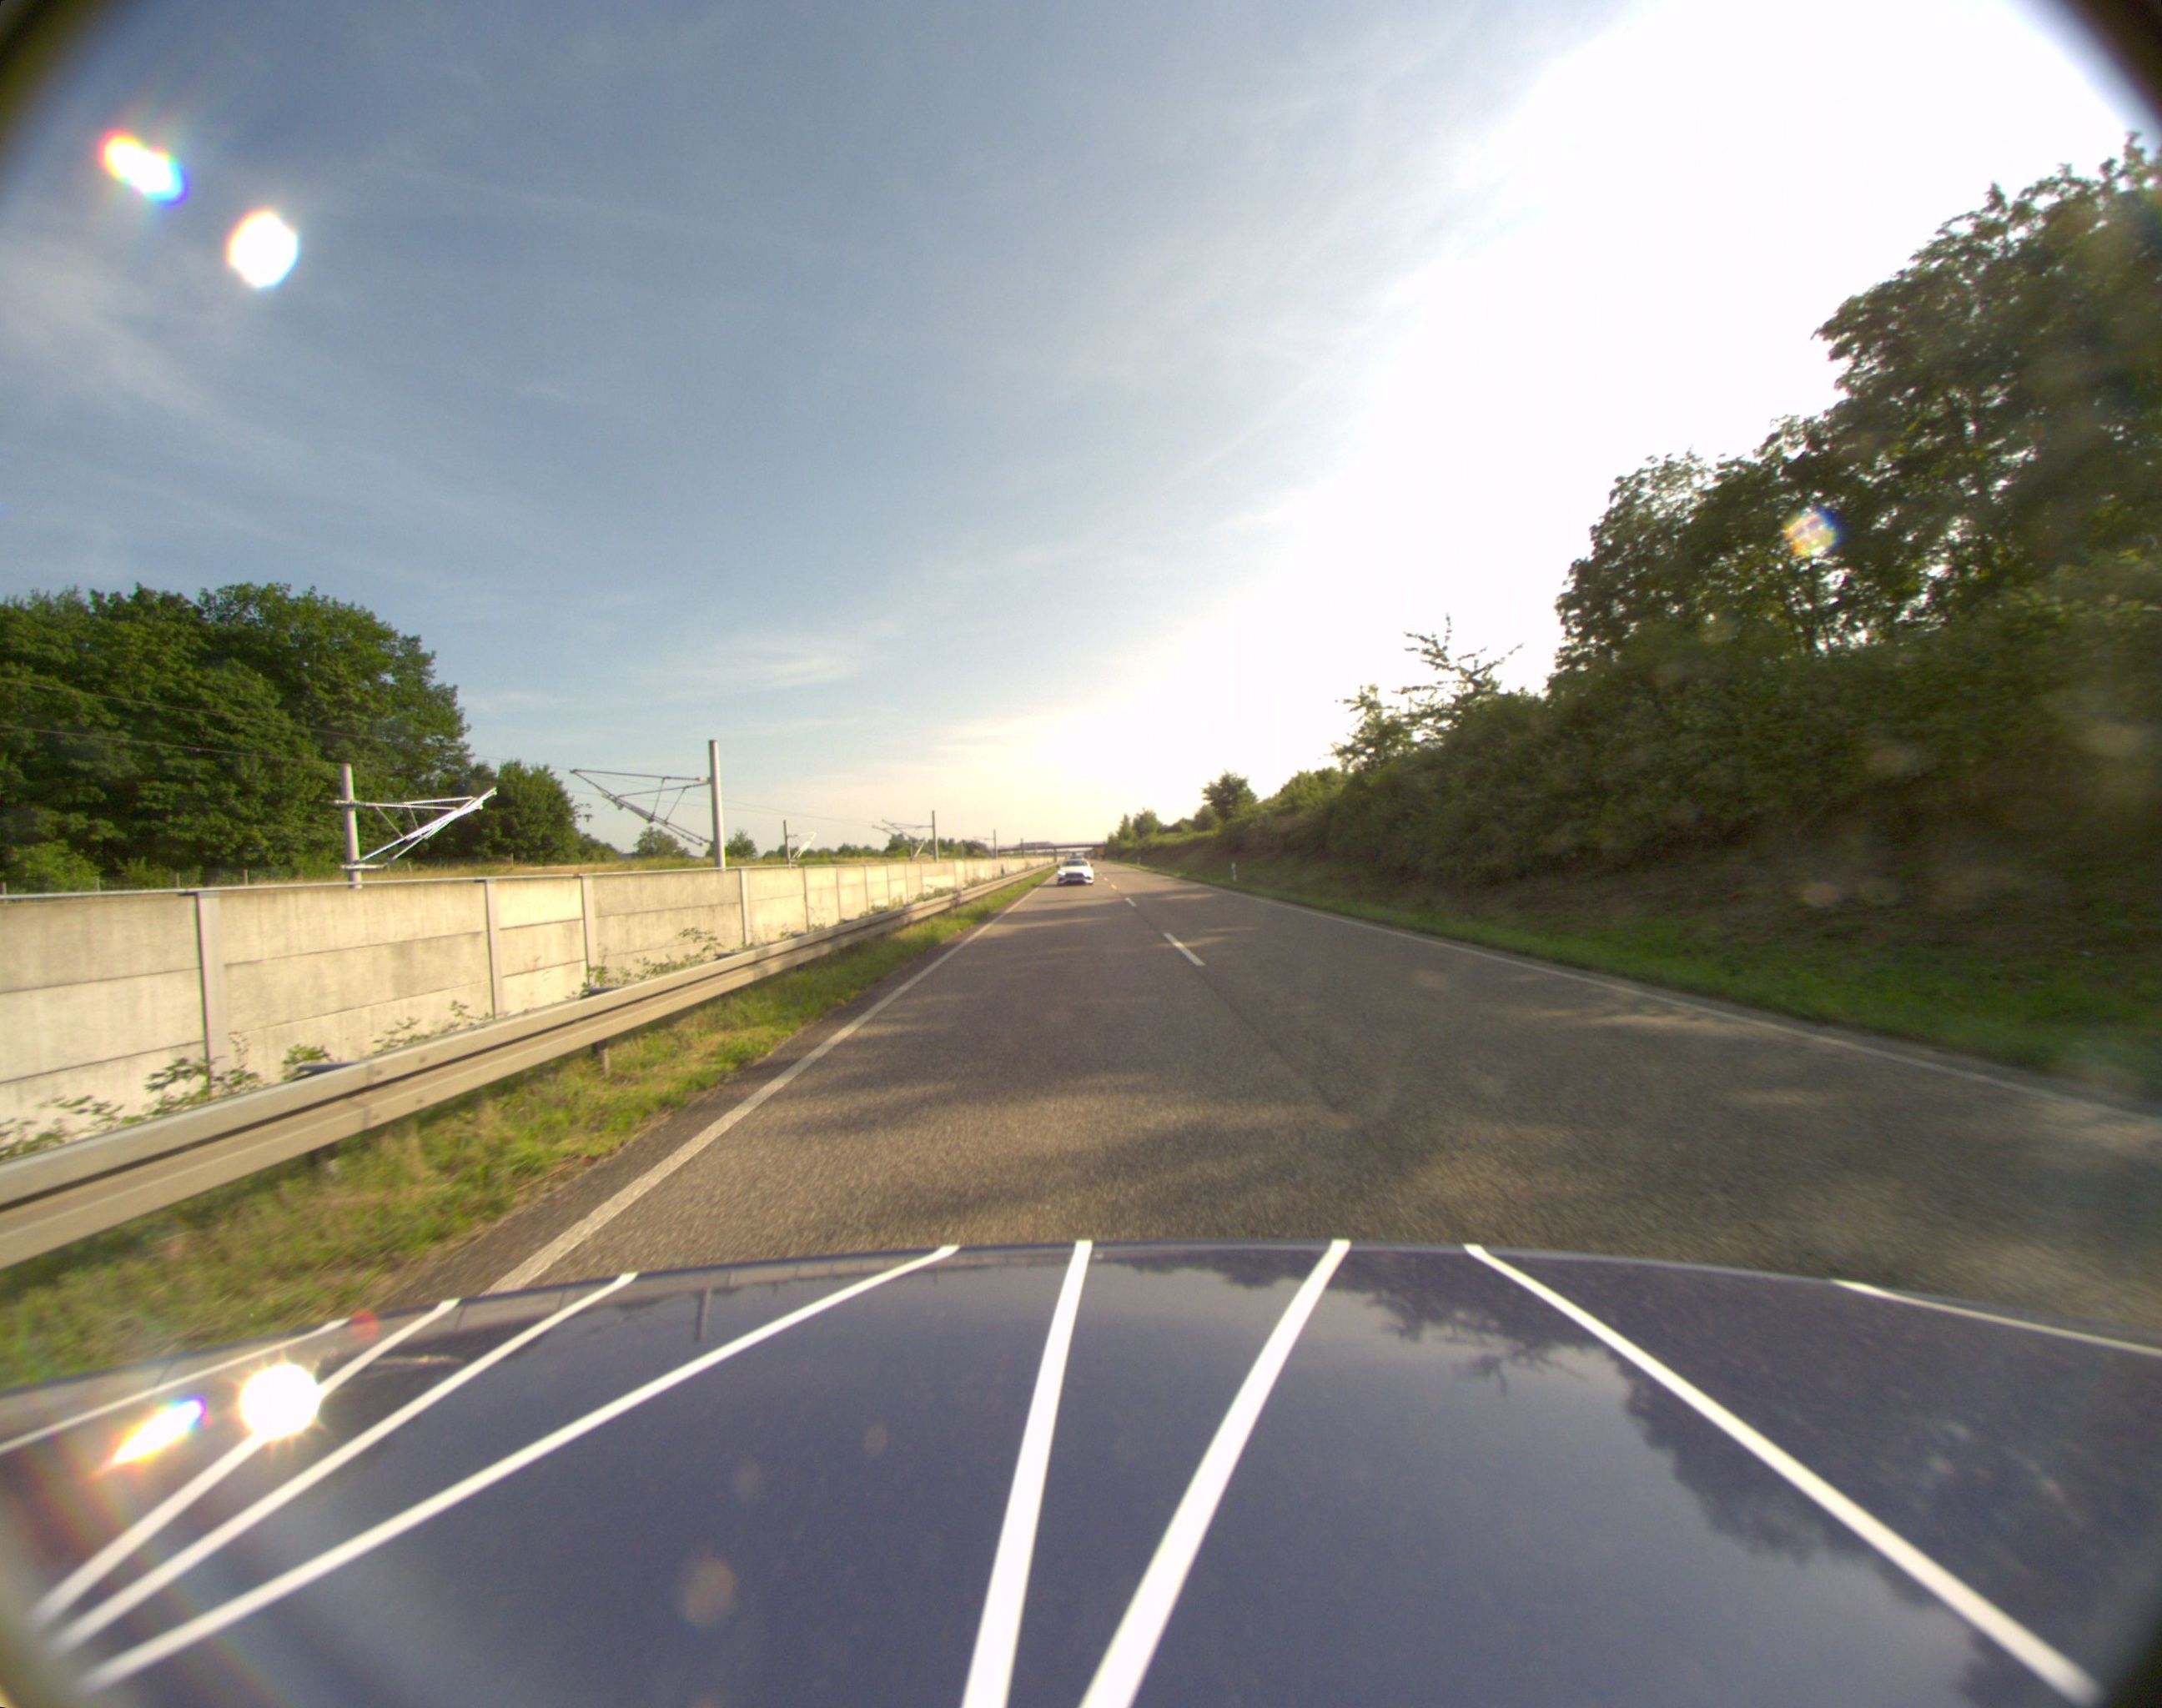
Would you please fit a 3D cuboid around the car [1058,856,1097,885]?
[{"bbox_3d":[-0.186,0.867,41.104,1.953,1.430,4.611,-2,0,0],"label":"car"}]
